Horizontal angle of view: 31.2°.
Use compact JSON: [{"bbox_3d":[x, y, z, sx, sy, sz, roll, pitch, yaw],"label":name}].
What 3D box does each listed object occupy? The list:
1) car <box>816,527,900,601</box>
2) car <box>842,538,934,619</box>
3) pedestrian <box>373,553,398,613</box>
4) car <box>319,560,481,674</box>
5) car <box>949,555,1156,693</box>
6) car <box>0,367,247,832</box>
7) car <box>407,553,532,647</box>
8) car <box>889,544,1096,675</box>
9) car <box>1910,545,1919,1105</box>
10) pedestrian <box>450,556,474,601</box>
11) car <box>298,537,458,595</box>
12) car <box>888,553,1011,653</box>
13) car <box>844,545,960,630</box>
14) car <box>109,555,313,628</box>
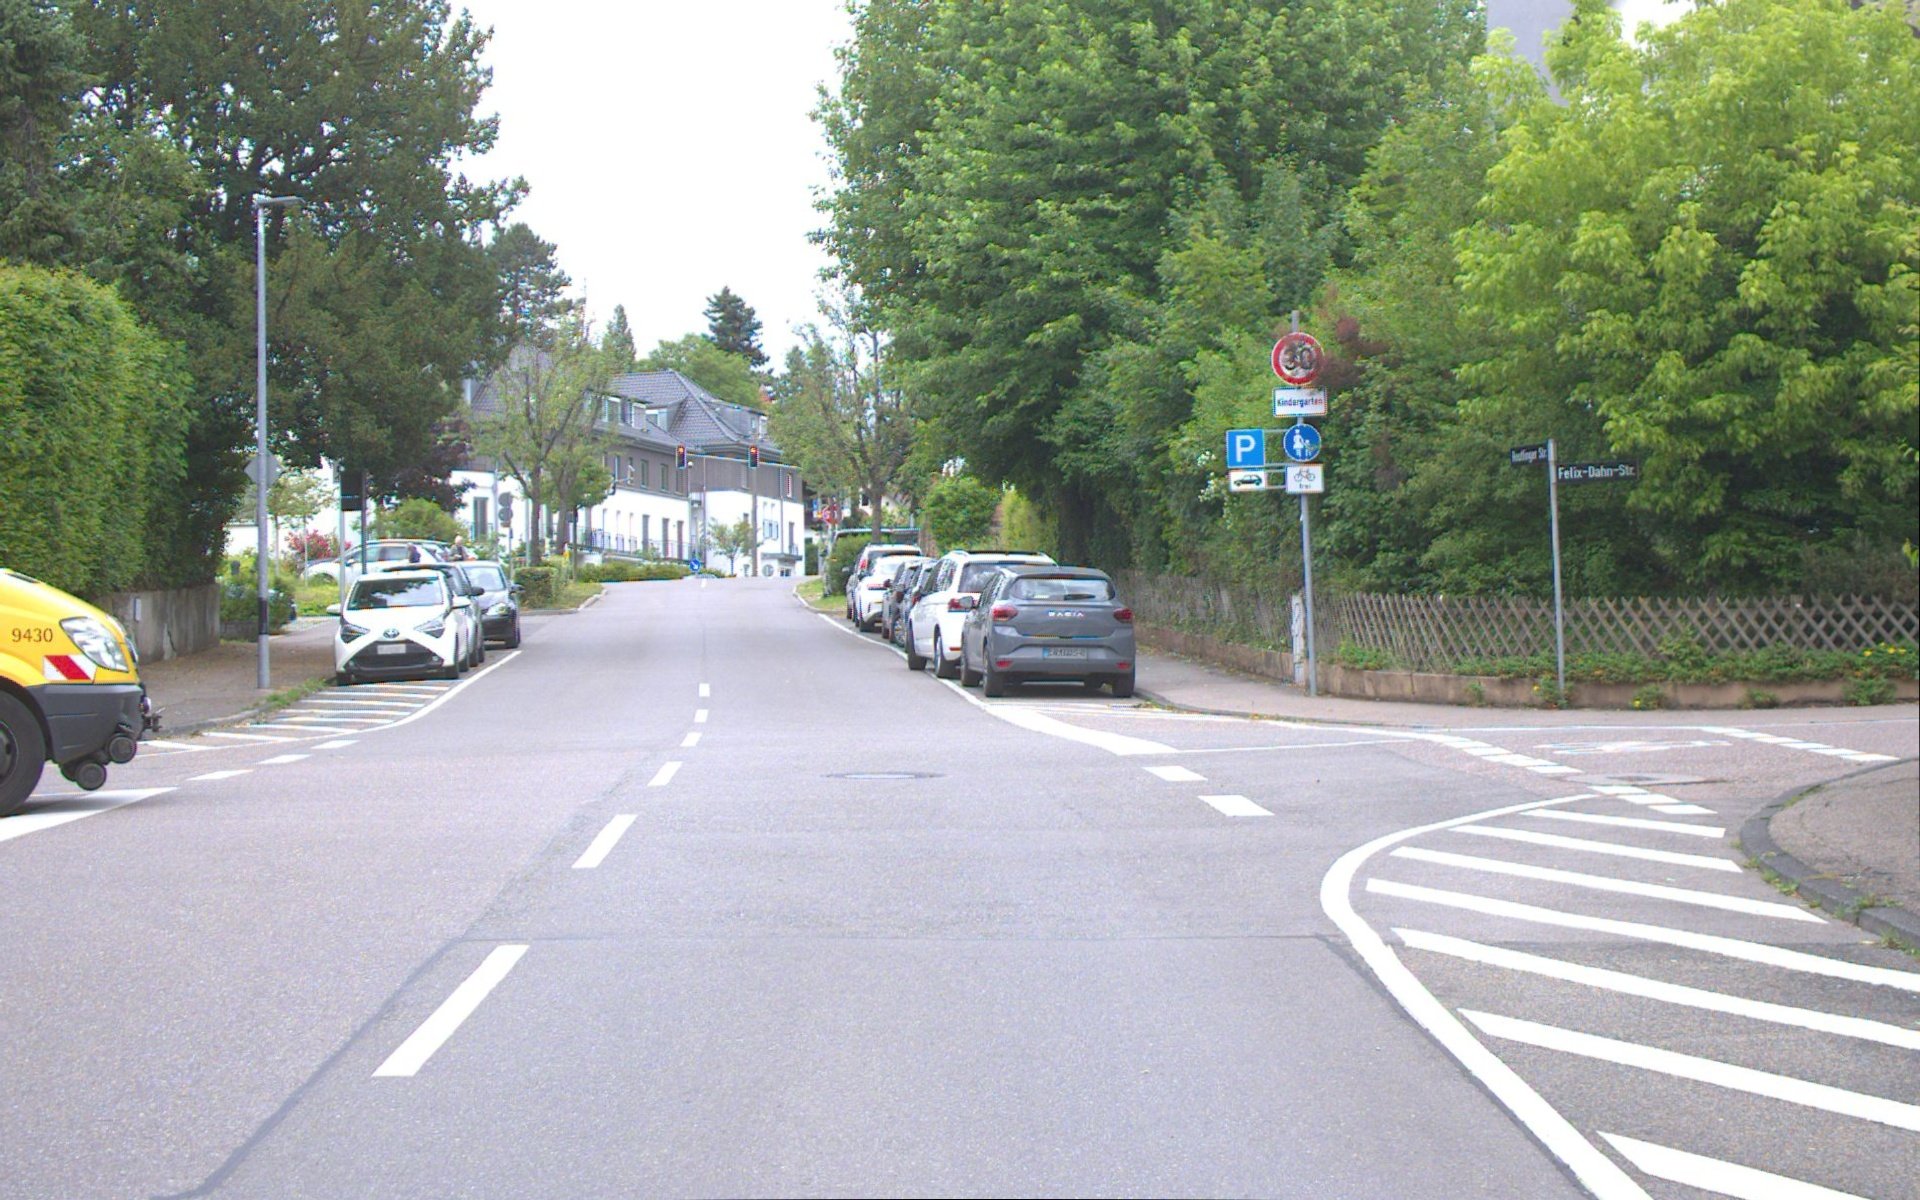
[{"bbox_3d":[-2.674,-0.959,89.154,1.936,1.831,5.220,-1,1,-4],"label":"car"},{"bbox_3d":[-1.543,-0.480,72.403,1.716,1.627,3.929,1,1,-4],"label":"car"},{"bbox_3d":[-15.946,-0.477,95.422,0.593,1.635,0.565,-1,1,-3],"label":"pedestrian"},{"bbox_3d":[-7.519,0.195,46.403,1.744,1.443,3.514,-1,1,-3],"label":"car"},{"bbox_3d":[1.049,0.244,41.318,1.937,1.486,4.457,-1,1,-5],"label":"car"},{"bbox_3d":[-7.399,0.037,19.768,6.122,2.592,2.369,-2,1,-20],"label":"car"},{"bbox_3d":[-8.305,-0.041,58.527,1.850,1.464,4.684,-1,1,-5],"label":"car"},{"bbox_3d":[0.370,0.077,46.226,2.000,1.603,4.760,-2,1,-9],"label":"car"},{"bbox_3d":[2.537,0.680,3.585,1.790,1.483,4.379,-1,1,-1],"label":"car"},{"bbox_3d":[-14.300,-0.609,98.732,0.607,1.279,0.900,1,1,-4],"label":"pedestrian"},{"bbox_3d":[-16.830,-0.994,99.519,4.386,1.561,2.067,-1,1,-5],"label":"car"},{"bbox_3d":[-0.208,0.016,55.858,1.697,1.503,4.161,1,1,-4],"label":"car"},{"bbox_3d":[-1.165,-0.273,66.597,1.993,1.486,5.005,-1,1,-3],"label":"car"},{"bbox_3d":[-14.651,-0.175,67.412,3.793,1.349,1.742,-1,1,-9],"label":"car"}]
